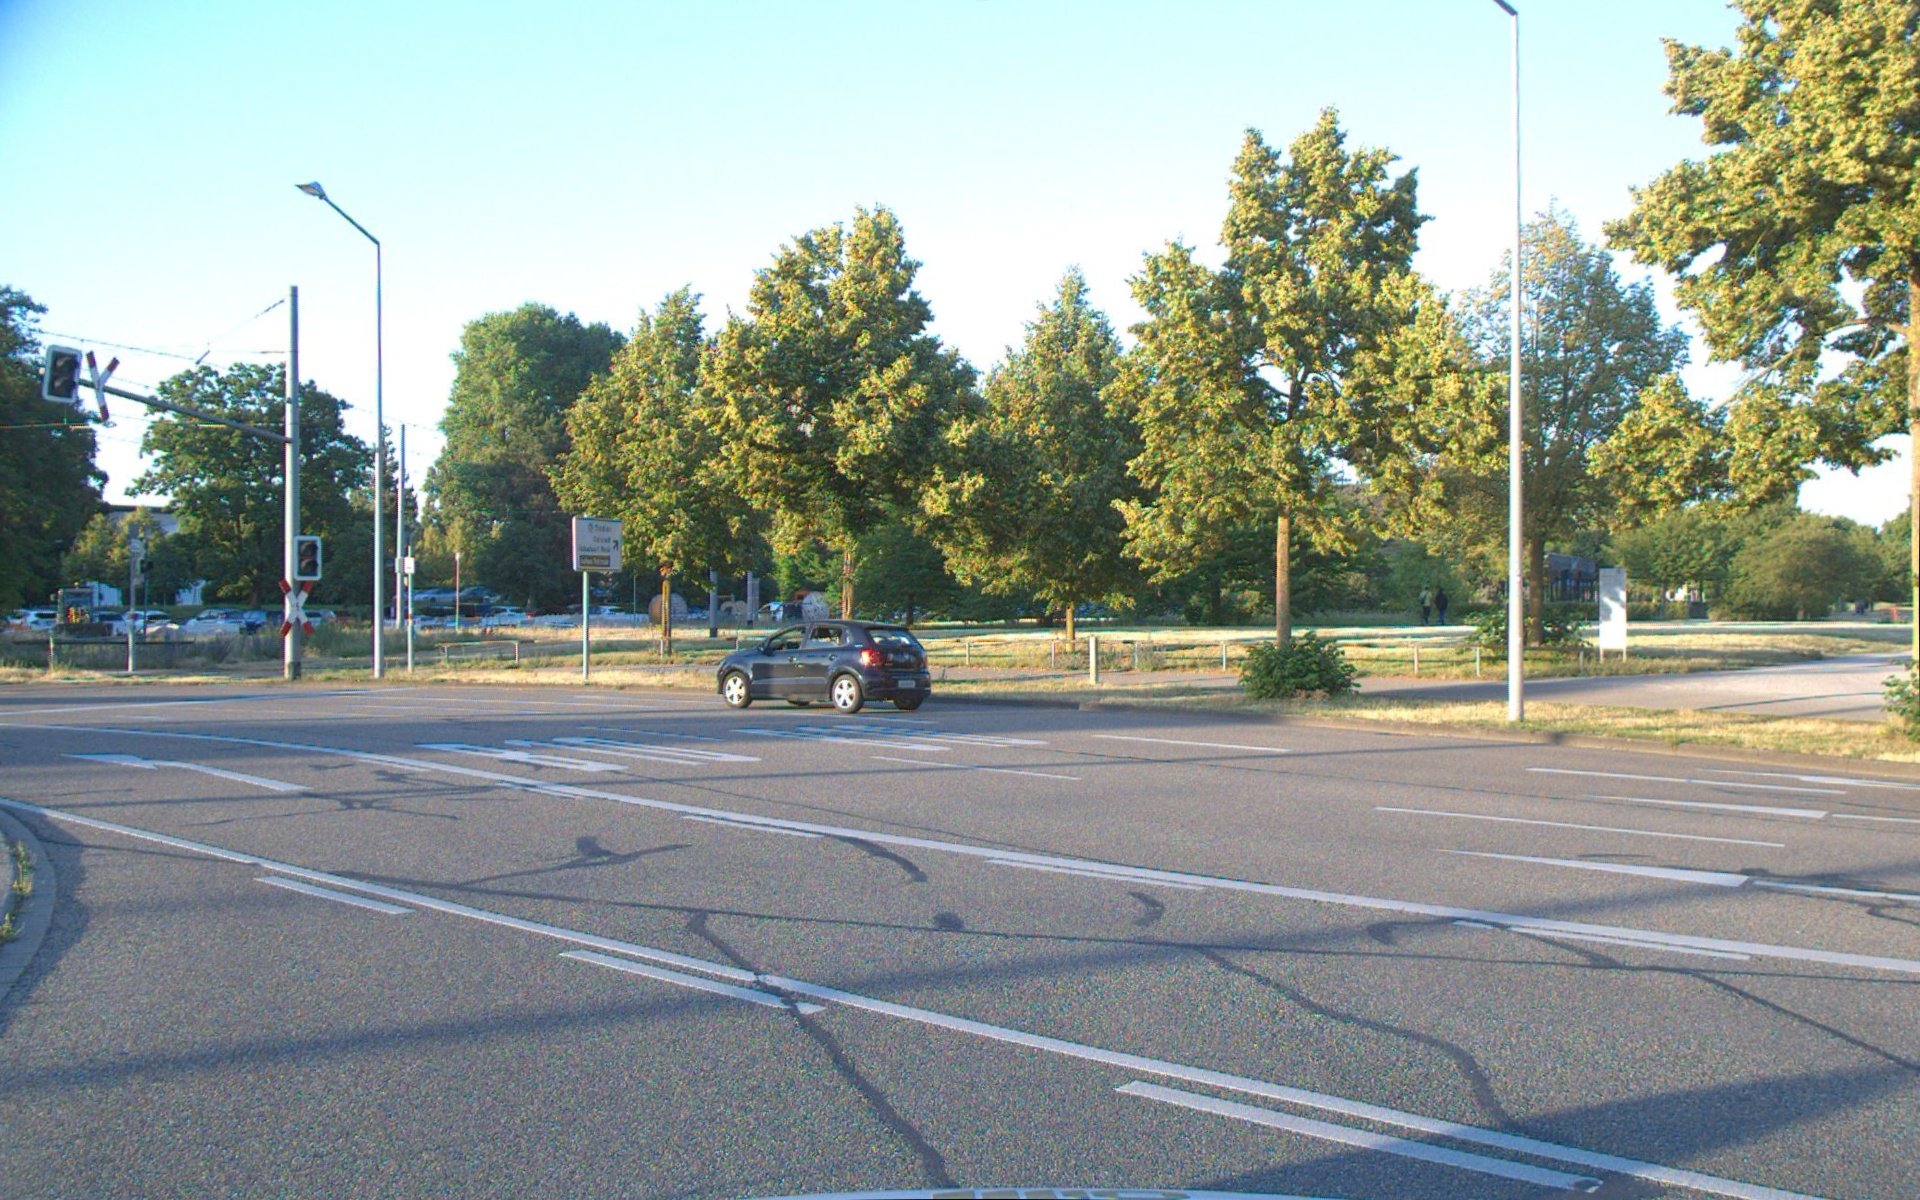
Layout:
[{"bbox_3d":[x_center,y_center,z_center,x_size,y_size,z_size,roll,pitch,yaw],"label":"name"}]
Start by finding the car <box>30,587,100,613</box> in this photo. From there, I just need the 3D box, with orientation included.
[{"bbox_3d":[-70.552,-0.019,130.446,1.956,2.049,4.590,0,0,29],"label":"car"}]

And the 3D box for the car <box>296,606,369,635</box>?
[{"bbox_3d":[-36.459,1.196,96.074,3.915,1.632,1.995,0,0,32],"label":"car"}]

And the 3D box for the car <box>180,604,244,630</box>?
[{"bbox_3d":[-50.577,1.113,111.855,3.939,1.691,1.983,0,0,-27],"label":"car"}]

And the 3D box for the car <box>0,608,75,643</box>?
[{"bbox_3d":[-45.639,1.241,81.419,3.915,1.632,1.995,0,0,32],"label":"car"}]

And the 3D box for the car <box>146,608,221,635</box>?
[{"bbox_3d":[-50.247,1.374,107.068,1.863,1.691,3.987,0,0,34],"label":"car"}]

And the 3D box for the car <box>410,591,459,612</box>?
[{"bbox_3d":[-47.972,0.119,151.048,1.959,1.847,3.987,0,0,34],"label":"car"}]

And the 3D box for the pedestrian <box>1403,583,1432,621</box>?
[{"bbox_3d":[20.311,0.091,73.437,1.047,1.646,0.911,0,0,2],"label":"pedestrian"}]

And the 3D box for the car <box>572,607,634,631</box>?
[{"bbox_3d":[-24.918,1.325,115.412,3.915,1.632,1.995,0,0,32],"label":"car"}]

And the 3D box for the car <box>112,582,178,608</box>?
[{"bbox_3d":[-67.137,-0.408,136.322,1.958,2.049,4.585,0,0,33],"label":"car"}]

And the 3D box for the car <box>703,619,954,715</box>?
[{"bbox_3d":[-2.148,1.018,26.537,3.922,1.378,1.687,0,0,38],"label":"car"}]

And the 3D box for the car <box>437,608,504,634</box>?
[{"bbox_3d":[-30.992,1.326,104.672,3.915,1.632,1.995,0,0,32],"label":"car"}]

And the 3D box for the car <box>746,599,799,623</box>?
[{"bbox_3d":[-13.020,0.763,114.662,1.724,1.646,3.940,0,0,-41],"label":"car"}]

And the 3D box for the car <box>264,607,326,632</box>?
[{"bbox_3d":[-45.834,1.324,114.097,3.933,1.691,1.889,0,0,-23],"label":"car"}]

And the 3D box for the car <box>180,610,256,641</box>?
[{"bbox_3d":[-40.545,1.367,90.362,3.915,1.632,1.995,0,0,32],"label":"car"}]

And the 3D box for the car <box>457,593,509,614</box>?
[{"bbox_3d":[-41.709,0.301,144.710,3.902,1.736,2.001,0,0,6],"label":"car"}]

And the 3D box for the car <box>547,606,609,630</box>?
[{"bbox_3d":[-26.287,1.239,113.662,3.915,1.632,1.995,0,0,32],"label":"car"}]

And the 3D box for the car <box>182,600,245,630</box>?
[{"bbox_3d":[-52.167,1.045,115.619,3.939,2.049,1.983,0,0,-27],"label":"car"}]

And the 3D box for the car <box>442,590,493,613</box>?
[{"bbox_3d":[-44.110,0.115,148.222,1.963,2.049,3.979,0,0,40],"label":"car"}]

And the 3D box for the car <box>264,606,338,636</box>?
[{"bbox_3d":[-37.403,1.170,93.856,3.915,1.632,1.995,0,0,32],"label":"car"}]

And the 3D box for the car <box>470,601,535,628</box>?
[{"bbox_3d":[-34.611,1.088,125.249,4.499,2.049,1.996,0,0,-9],"label":"car"}]

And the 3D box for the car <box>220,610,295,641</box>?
[{"bbox_3d":[-39.103,1.398,92.030,3.915,1.632,1.995,0,0,32],"label":"car"}]

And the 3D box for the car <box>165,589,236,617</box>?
[{"bbox_3d":[-56.665,0.243,123.474,1.956,2.049,4.590,0,0,29],"label":"car"}]

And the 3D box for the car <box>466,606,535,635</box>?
[{"bbox_3d":[-32.542,1.444,117.142,4.499,2.049,1.996,0,0,-9],"label":"car"}]

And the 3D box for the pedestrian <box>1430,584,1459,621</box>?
[{"bbox_3d":[21.390,0.103,72.995,1.047,1.646,0.911,0,0,2],"label":"pedestrian"}]

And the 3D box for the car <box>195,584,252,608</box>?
[{"bbox_3d":[-63.396,-0.320,142.343,1.958,2.049,4.105,0,0,33],"label":"car"}]

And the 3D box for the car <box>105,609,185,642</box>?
[{"bbox_3d":[-42.269,1.318,85.772,3.915,1.632,1.995,0,0,32],"label":"car"}]

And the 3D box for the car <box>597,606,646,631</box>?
[{"bbox_3d":[-26.383,1.397,128.867,1.979,1.782,4.538,0,1,-37],"label":"car"}]
